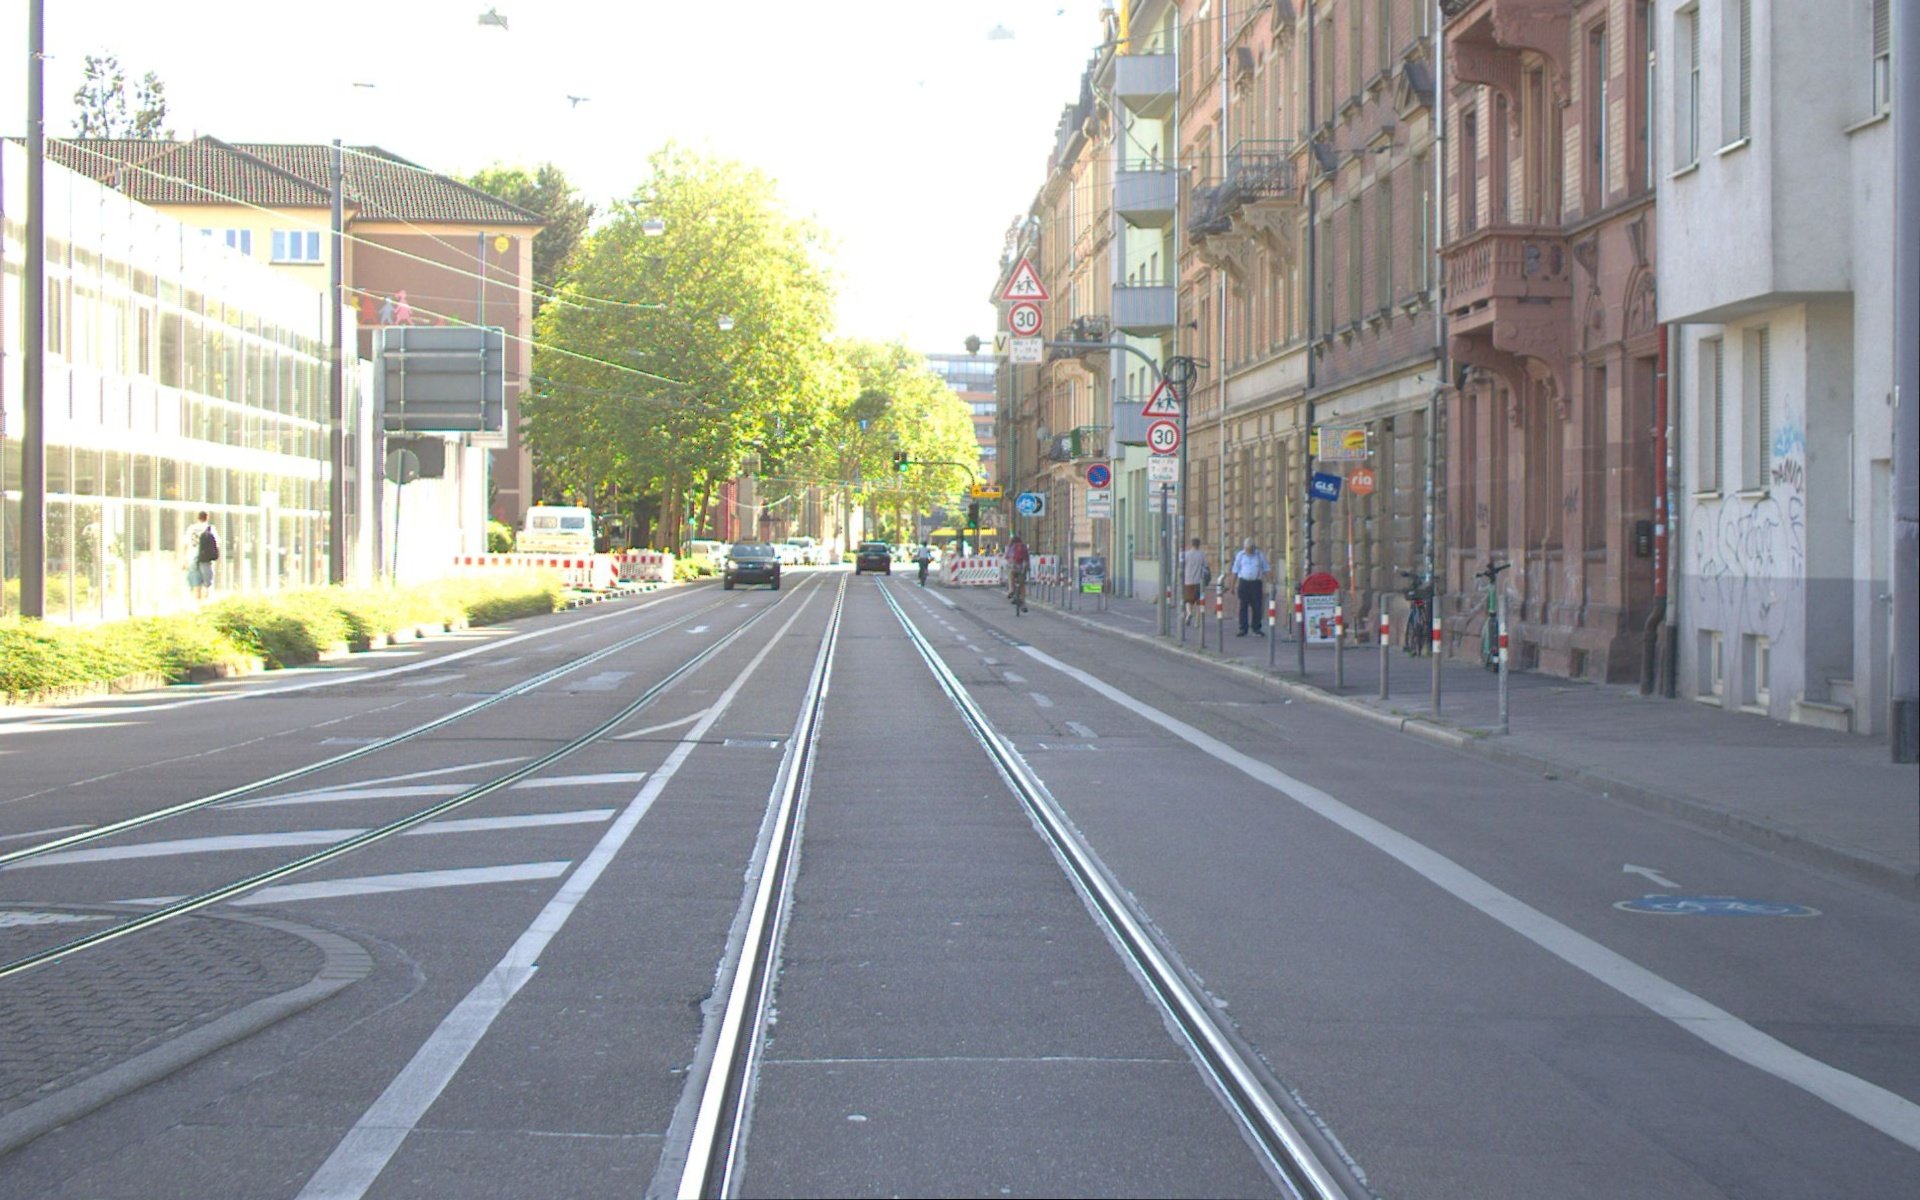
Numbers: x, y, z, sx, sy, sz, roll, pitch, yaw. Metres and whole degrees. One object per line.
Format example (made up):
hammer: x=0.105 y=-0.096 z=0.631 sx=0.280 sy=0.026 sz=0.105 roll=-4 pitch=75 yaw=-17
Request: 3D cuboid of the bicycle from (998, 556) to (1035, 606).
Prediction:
bicycle: x=1.281 y=-0.445 z=78.236 sx=0.681 sy=1.110 sz=2.707 roll=2 pitch=1 yaw=-2

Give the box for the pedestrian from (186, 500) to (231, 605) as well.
pedestrian: x=-12.839 y=-0.808 z=58.758 sx=0.526 sy=1.759 sz=1.051 roll=2 pitch=0 yaw=-2

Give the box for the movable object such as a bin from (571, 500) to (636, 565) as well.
movable object such as a bin: x=-15.200 y=-2.874 z=146.703 sx=2.495 sy=2.636 sz=5.990 roll=2 pitch=1 yaw=-4

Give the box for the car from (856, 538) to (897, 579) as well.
car: x=-4.259 y=-2.124 z=175.785 sx=1.993 sy=2.007 sz=4.000 roll=2 pitch=0 yaw=-1

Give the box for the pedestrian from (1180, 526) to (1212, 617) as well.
pedestrian: x=4.408 y=-0.533 z=64.219 sx=0.553 sy=1.695 sz=0.474 roll=-2 pitch=0 yaw=4

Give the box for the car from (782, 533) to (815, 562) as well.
car: x=-11.737 y=-3.799 z=250.380 sx=2.058 sy=2.045 sz=4.043 roll=2 pitch=0 yaw=1

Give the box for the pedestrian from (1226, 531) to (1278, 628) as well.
pedestrian: x=4.866 y=-0.342 z=57.316 sx=0.798 sy=1.599 sz=0.652 roll=0 pitch=0 yaw=1

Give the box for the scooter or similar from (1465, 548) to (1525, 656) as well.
scooter or similar: x=6.098 y=0.015 z=39.196 sx=0.406 sy=1.207 sz=1.480 roll=-1 pitch=0 yaw=-1

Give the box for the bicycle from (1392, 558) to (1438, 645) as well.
bicycle: x=5.985 y=0.017 z=45.302 sx=0.410 sy=1.117 sz=1.898 roll=-1 pitch=0 yaw=2

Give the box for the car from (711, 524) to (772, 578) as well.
car: x=-7.261 y=-1.619 z=114.792 sx=1.759 sy=1.691 sz=4.144 roll=2 pitch=0 yaw=-1

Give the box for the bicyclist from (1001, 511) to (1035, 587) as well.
bicyclist: x=1.321 y=-1.160 z=78.137 sx=0.667 sy=1.691 sz=1.043 roll=2 pitch=0 yaw=-2

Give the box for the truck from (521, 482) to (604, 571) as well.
truck: x=-13.363 y=-2.451 z=115.805 sx=2.537 sy=2.820 sz=6.377 roll=2 pitch=0 yaw=-5
